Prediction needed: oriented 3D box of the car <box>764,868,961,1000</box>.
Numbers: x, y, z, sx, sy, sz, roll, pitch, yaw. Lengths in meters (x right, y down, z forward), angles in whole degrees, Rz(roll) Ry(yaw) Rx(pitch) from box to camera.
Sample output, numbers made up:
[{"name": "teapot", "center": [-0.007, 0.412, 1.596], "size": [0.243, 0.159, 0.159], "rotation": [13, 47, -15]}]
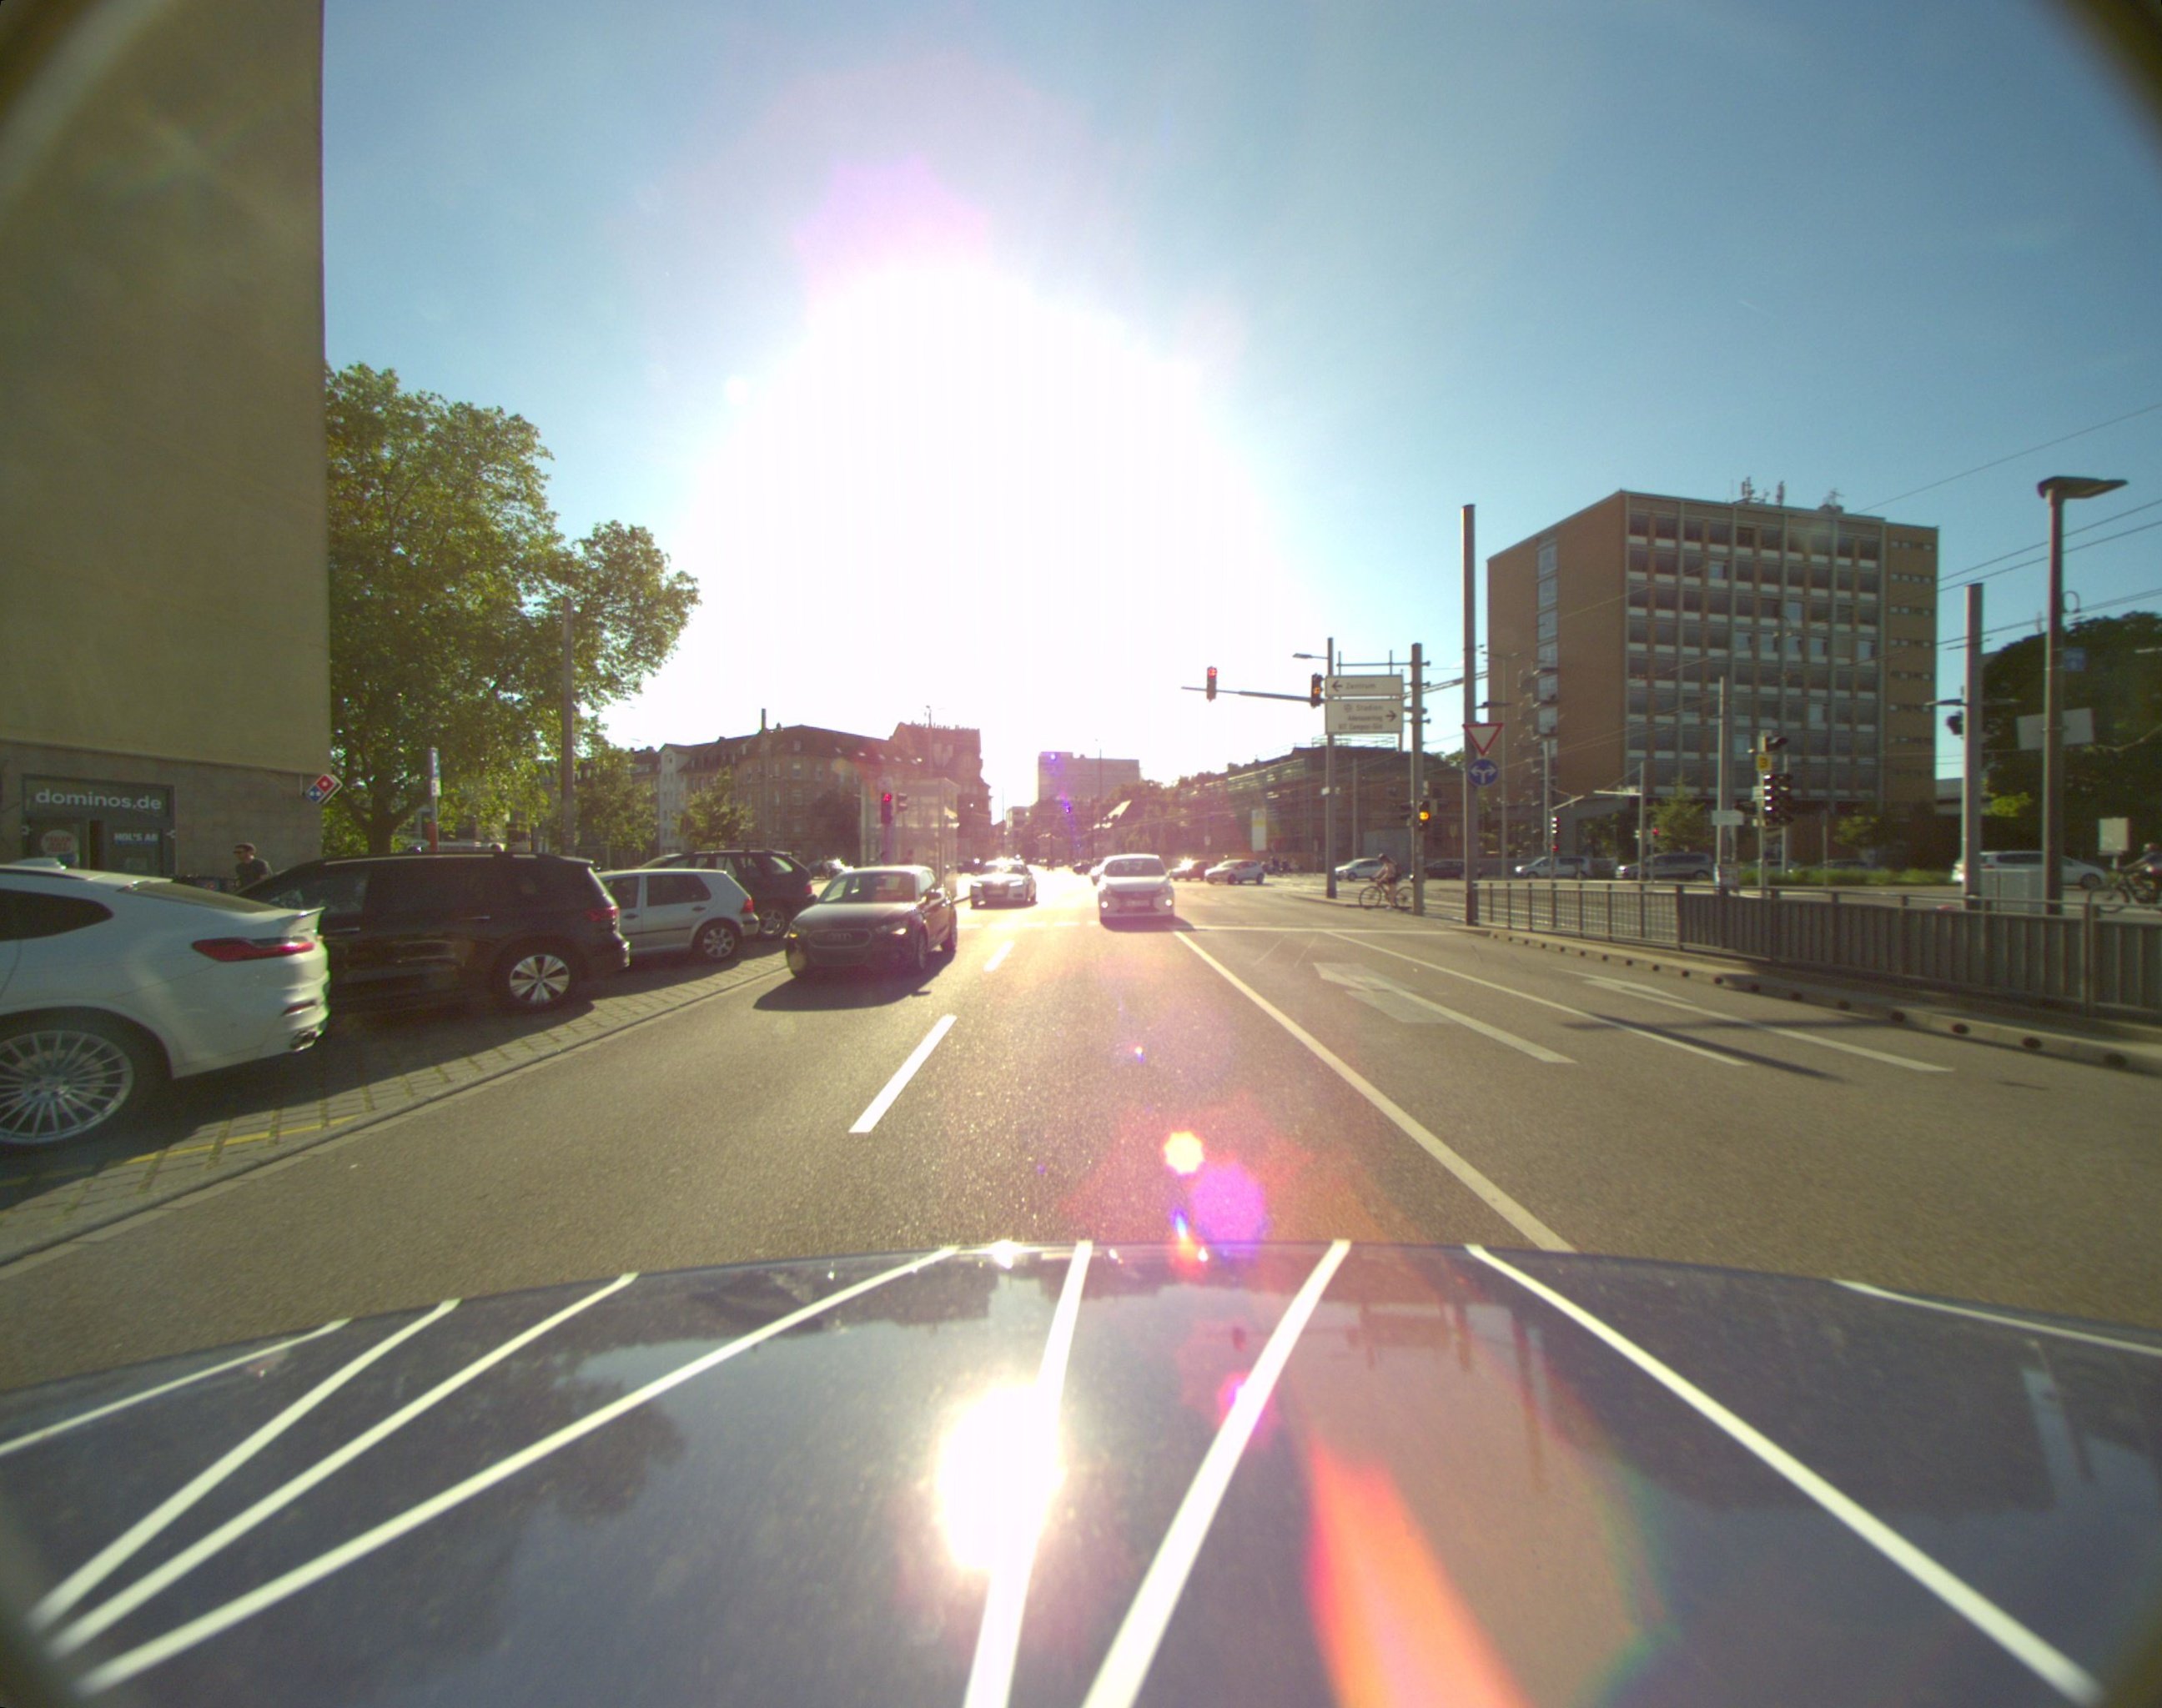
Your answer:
[{"name": "car", "center": [-2.899, 0.994, 10.960], "size": [1.694, 1.380, 3.831], "rotation": [-2, 1, 0]}]

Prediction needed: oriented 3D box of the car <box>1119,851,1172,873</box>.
[{"name": "car", "center": [5.427, 0.696, 64.090], "size": [3.991, 1.598, 2.002], "rotation": [-2, 3, 19]}]

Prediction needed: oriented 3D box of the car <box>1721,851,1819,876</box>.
[{"name": "car", "center": [48.123, 0.695, 53.172], "size": [4.698, 1.673, 2.003], "rotation": [0, -2, 15]}]

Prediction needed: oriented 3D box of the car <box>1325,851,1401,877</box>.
[{"name": "car", "center": [18.614, 0.659, 50.196], "size": [4.284, 1.666, 1.998], "rotation": [0, 0, -12]}]

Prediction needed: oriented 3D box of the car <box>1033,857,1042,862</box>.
[{"name": "car", "center": [-11.565, 1.472, 202.641], "size": [1.757, 1.455, 4.016], "rotation": [-1, -2, -12]}]

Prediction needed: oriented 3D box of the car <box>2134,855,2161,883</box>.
[{"name": "car", "center": [67.319, 0.899, 45.526], "size": [4.698, 1.673, 2.003], "rotation": [0, -2, 15]}]

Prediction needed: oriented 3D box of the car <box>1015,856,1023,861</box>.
[{"name": "car", "center": [-19.082, 1.319, 233.907], "size": [1.757, 1.455, 4.016], "rotation": [-1, -2, -12]}]

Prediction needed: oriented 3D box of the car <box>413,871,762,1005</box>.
[{"name": "car", "center": [-6.948, 1.037, 10.959], "size": [3.900, 1.391, 1.784], "rotation": [-3, 1, -44]}]

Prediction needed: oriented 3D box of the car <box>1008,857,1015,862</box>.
[{"name": "car", "center": [-23.376, 1.844, 255.988], "size": [1.757, 1.455, 4.016], "rotation": [-1, -2, -12]}]

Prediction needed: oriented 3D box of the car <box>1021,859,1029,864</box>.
[{"name": "car", "center": [-16.404, 2.209, 222.750], "size": [1.757, 1.595, 4.016], "rotation": [-1, -2, -12]}]

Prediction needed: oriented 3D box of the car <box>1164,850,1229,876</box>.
[{"name": "car", "center": [8.045, 0.675, 52.860], "size": [4.007, 1.673, 1.996], "rotation": [2, -3, -28]}]

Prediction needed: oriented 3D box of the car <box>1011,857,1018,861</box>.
[{"name": "car", "center": [-22.049, 1.624, 250.433], "size": [1.757, 1.455, 4.016], "rotation": [-1, -2, -12]}]

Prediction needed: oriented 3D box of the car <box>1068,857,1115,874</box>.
[{"name": "car", "center": [0.958, 1.048, 70.068], "size": [4.011, 1.455, 1.759], "rotation": [-1, 0, 18]}]

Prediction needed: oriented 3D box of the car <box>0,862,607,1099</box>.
[{"name": "car", "center": [-7.193, 0.933, 7.194], "size": [4.259, 1.588, 1.955], "rotation": [-2, 0, -43]}]

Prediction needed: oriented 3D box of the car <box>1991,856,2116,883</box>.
[{"name": "car", "center": [62.845, 0.995, 49.207], "size": [4.698, 1.673, 2.003], "rotation": [0, -2, 15]}]

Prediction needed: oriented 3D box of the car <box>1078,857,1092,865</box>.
[{"name": "car", "center": [0.790, 1.369, 145.663], "size": [1.757, 1.455, 4.016], "rotation": [-1, -2, -12]}]

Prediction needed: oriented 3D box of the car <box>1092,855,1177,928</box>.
[{"name": "car", "center": [1.287, 0.786, 17.694], "size": [1.720, 1.483, 3.872], "rotation": [-1, 0, 5]}]

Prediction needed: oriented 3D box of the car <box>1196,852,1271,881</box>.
[{"name": "car", "center": [9.198, 0.706, 45.752], "size": [4.291, 1.666, 1.995], "rotation": [-1, 1, -34]}]

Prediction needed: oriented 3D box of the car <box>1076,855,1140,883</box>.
[{"name": "car", "center": [1.607, 0.831, 43.864], "size": [1.779, 1.455, 3.923], "rotation": [1, 1, 38]}]

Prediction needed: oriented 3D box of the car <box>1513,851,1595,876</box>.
[{"name": "car", "center": [33.990, 0.697, 54.736], "size": [4.697, 1.673, 2.004], "rotation": [0, -2, 19]}]

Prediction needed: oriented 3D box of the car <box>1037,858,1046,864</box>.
[{"name": "car", "center": [-10.128, 1.883, 193.373], "size": [1.757, 1.455, 4.016], "rotation": [-1, -2, -12]}]

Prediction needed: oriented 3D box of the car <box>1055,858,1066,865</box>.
[{"name": "car", "center": [-4.628, 1.701, 170.328], "size": [1.757, 1.455, 4.016], "rotation": [-1, -2, -12]}]

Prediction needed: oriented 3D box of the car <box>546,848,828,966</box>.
[{"name": "car", "center": [-7.169, 0.834, 14.072], "size": [4.259, 1.803, 1.955], "rotation": [-2, 0, -41]}]

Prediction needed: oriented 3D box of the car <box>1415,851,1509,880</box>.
[{"name": "car", "center": [27.098, 0.806, 54.264], "size": [5.754, 2.001, 2.004], "rotation": [0, -2, 17]}]

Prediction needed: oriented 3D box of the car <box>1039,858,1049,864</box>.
[{"name": "car", "center": [-9.131, 1.690, 188.567], "size": [1.757, 1.455, 4.016], "rotation": [-1, -2, -12]}]

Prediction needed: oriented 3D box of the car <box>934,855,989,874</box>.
[{"name": "car", "center": [-11.090, 1.009, 70.755], "size": [4.644, 1.484, 1.819], "rotation": [-2, 3, 20]}]

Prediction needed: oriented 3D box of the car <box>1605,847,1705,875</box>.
[{"name": "car", "center": [36.038, 0.423, 47.856], "size": [4.607, 1.679, 2.003], "rotation": [0, 1, 22]}]

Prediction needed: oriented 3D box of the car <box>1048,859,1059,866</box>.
[{"name": "car", "center": [-6.313, 1.909, 175.727], "size": [1.757, 1.455, 4.016], "rotation": [-1, -2, -12]}]

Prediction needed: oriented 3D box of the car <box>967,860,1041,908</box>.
[{"name": "car", "center": [-2.436, 0.926, 25.209], "size": [1.825, 1.380, 4.458], "rotation": [0, 1, 2]}]

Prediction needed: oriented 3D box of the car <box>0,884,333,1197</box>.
[{"name": "car", "center": [-7.038, 1.043, 4.015], "size": [4.259, 1.561, 1.955], "rotation": [-2, 0, -42]}]

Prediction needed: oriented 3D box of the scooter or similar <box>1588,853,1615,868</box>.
[{"name": "scooter or similar", "center": [45.313, 0.571, 66.178], "size": [0.802, 1.239, 1.825], "rotation": [3, -3, -41]}]
